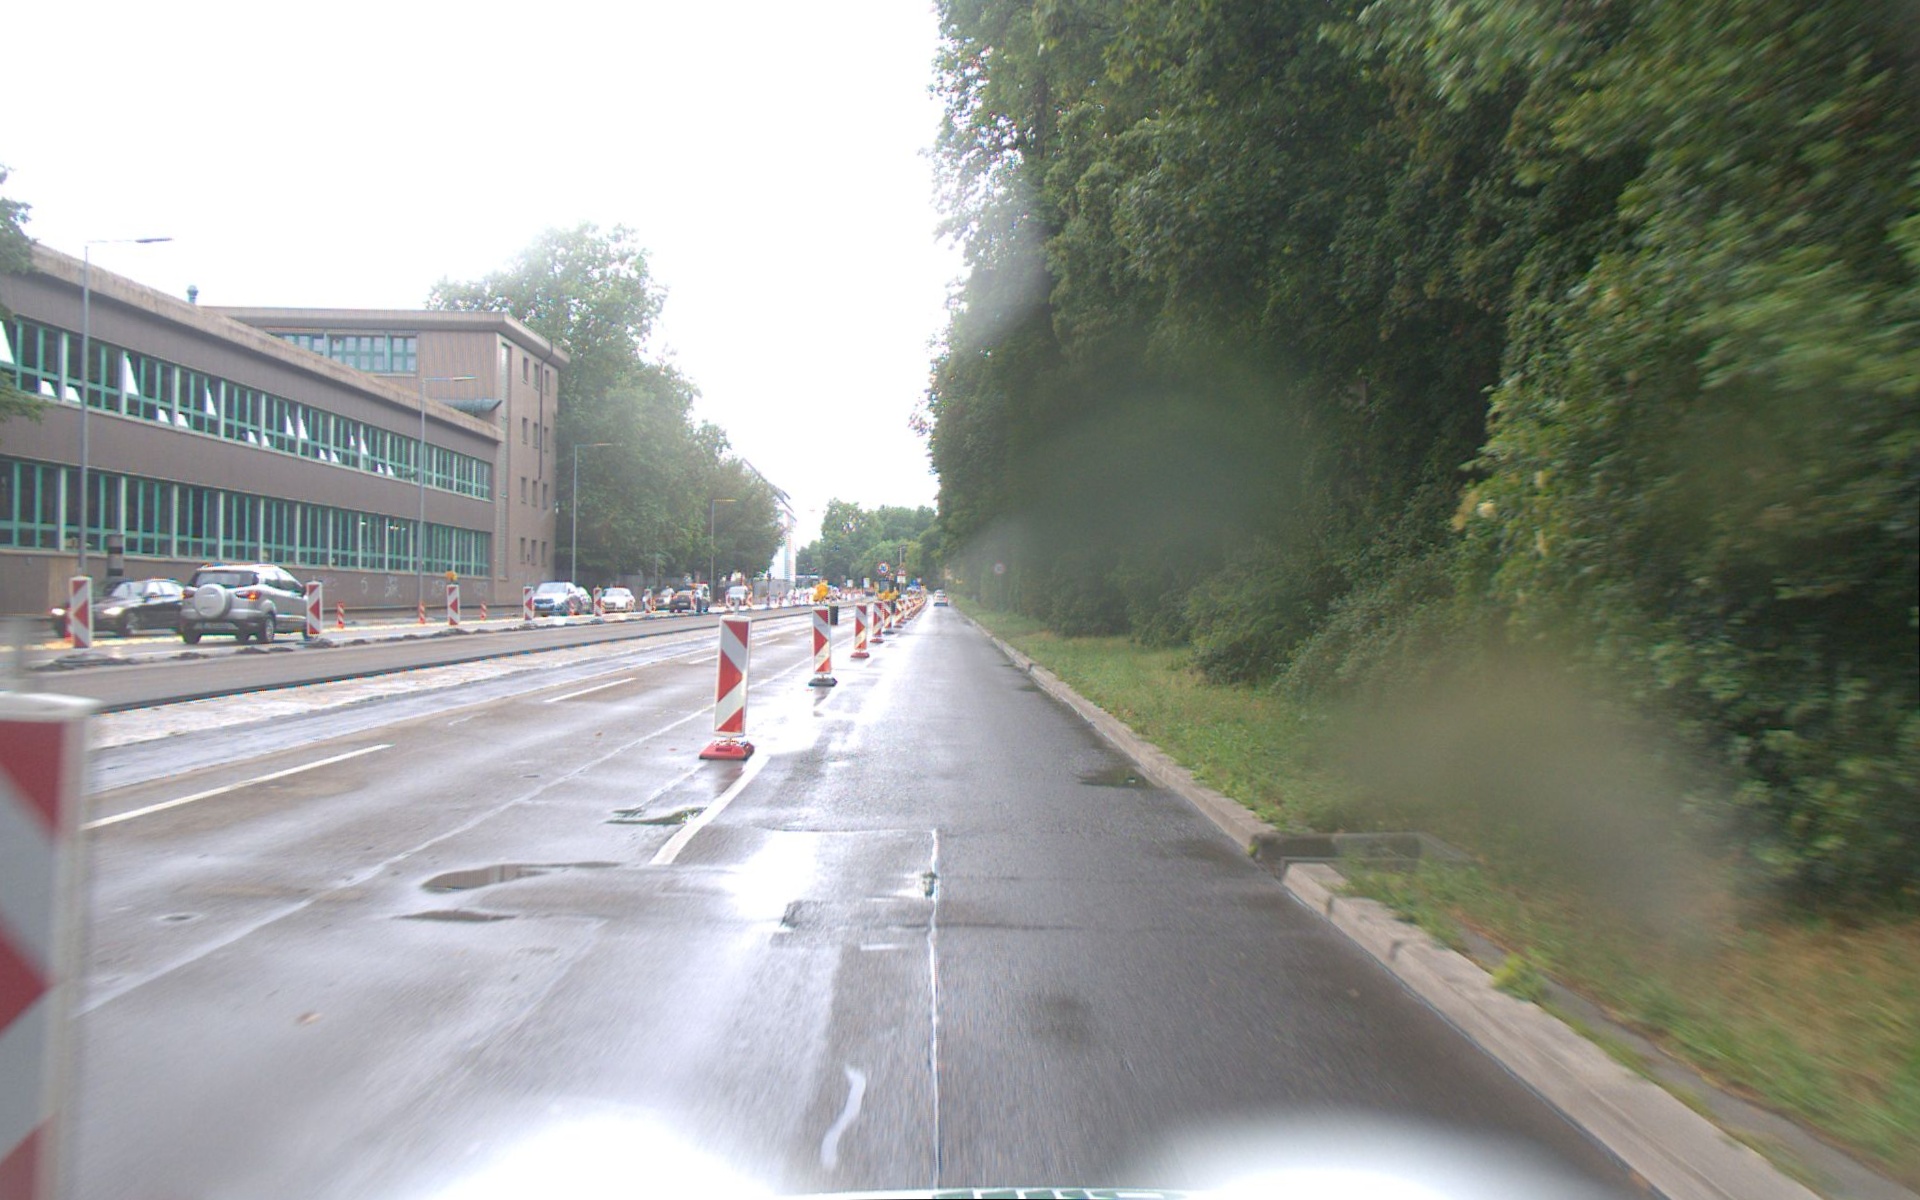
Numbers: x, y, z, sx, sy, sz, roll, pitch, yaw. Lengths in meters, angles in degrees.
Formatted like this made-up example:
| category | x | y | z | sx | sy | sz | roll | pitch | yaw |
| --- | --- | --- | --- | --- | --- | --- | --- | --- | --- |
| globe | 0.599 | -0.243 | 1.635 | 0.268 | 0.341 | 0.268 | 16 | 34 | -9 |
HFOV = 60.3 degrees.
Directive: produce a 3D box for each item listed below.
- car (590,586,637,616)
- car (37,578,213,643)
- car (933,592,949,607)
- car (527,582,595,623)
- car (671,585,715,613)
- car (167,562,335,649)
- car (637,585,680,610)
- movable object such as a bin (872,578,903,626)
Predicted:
| category | x | y | z | sx | sy | sz | roll | pitch | yaw |
| --- | --- | --- | --- | --- | --- | --- | --- | --- | --- |
| car | -19.136 | 0.058 | 91.470 | 1.767 | 1.561 | 3.991 | 2 | 0 | -1 |
| car | -20.929 | 0.255 | 41.722 | 2.005 | 1.479 | 4.764 | 2 | 0 | -1 |
| car | -2.354 | -0.047 | 206.951 | 1.953 | 1.702 | 3.999 | 2 | 0 | -1 |
| car | -18.749 | 0.118 | 77.851 | 1.948 | 1.799 | 4.674 | 2 | 0 | 1 |
| car | -15.641 | -0.034 | 96.995 | 1.953 | 1.545 | 3.999 | 2 | 0 | -1 |
| car | -14.935 | 0.125 | 35.072 | 1.817 | 1.677 | 3.999 | 2 | 0 | -1 |
| car | -19.607 | -0.117 | 107.619 | 1.855 | 1.528 | 4.516 | 2 | 0 | 1 |
| movable object such as a bin | -5.396 | 0.181 | 123.497 | 1.953 | 3.426 | 5.981 | 2 | 0 | -1 |
